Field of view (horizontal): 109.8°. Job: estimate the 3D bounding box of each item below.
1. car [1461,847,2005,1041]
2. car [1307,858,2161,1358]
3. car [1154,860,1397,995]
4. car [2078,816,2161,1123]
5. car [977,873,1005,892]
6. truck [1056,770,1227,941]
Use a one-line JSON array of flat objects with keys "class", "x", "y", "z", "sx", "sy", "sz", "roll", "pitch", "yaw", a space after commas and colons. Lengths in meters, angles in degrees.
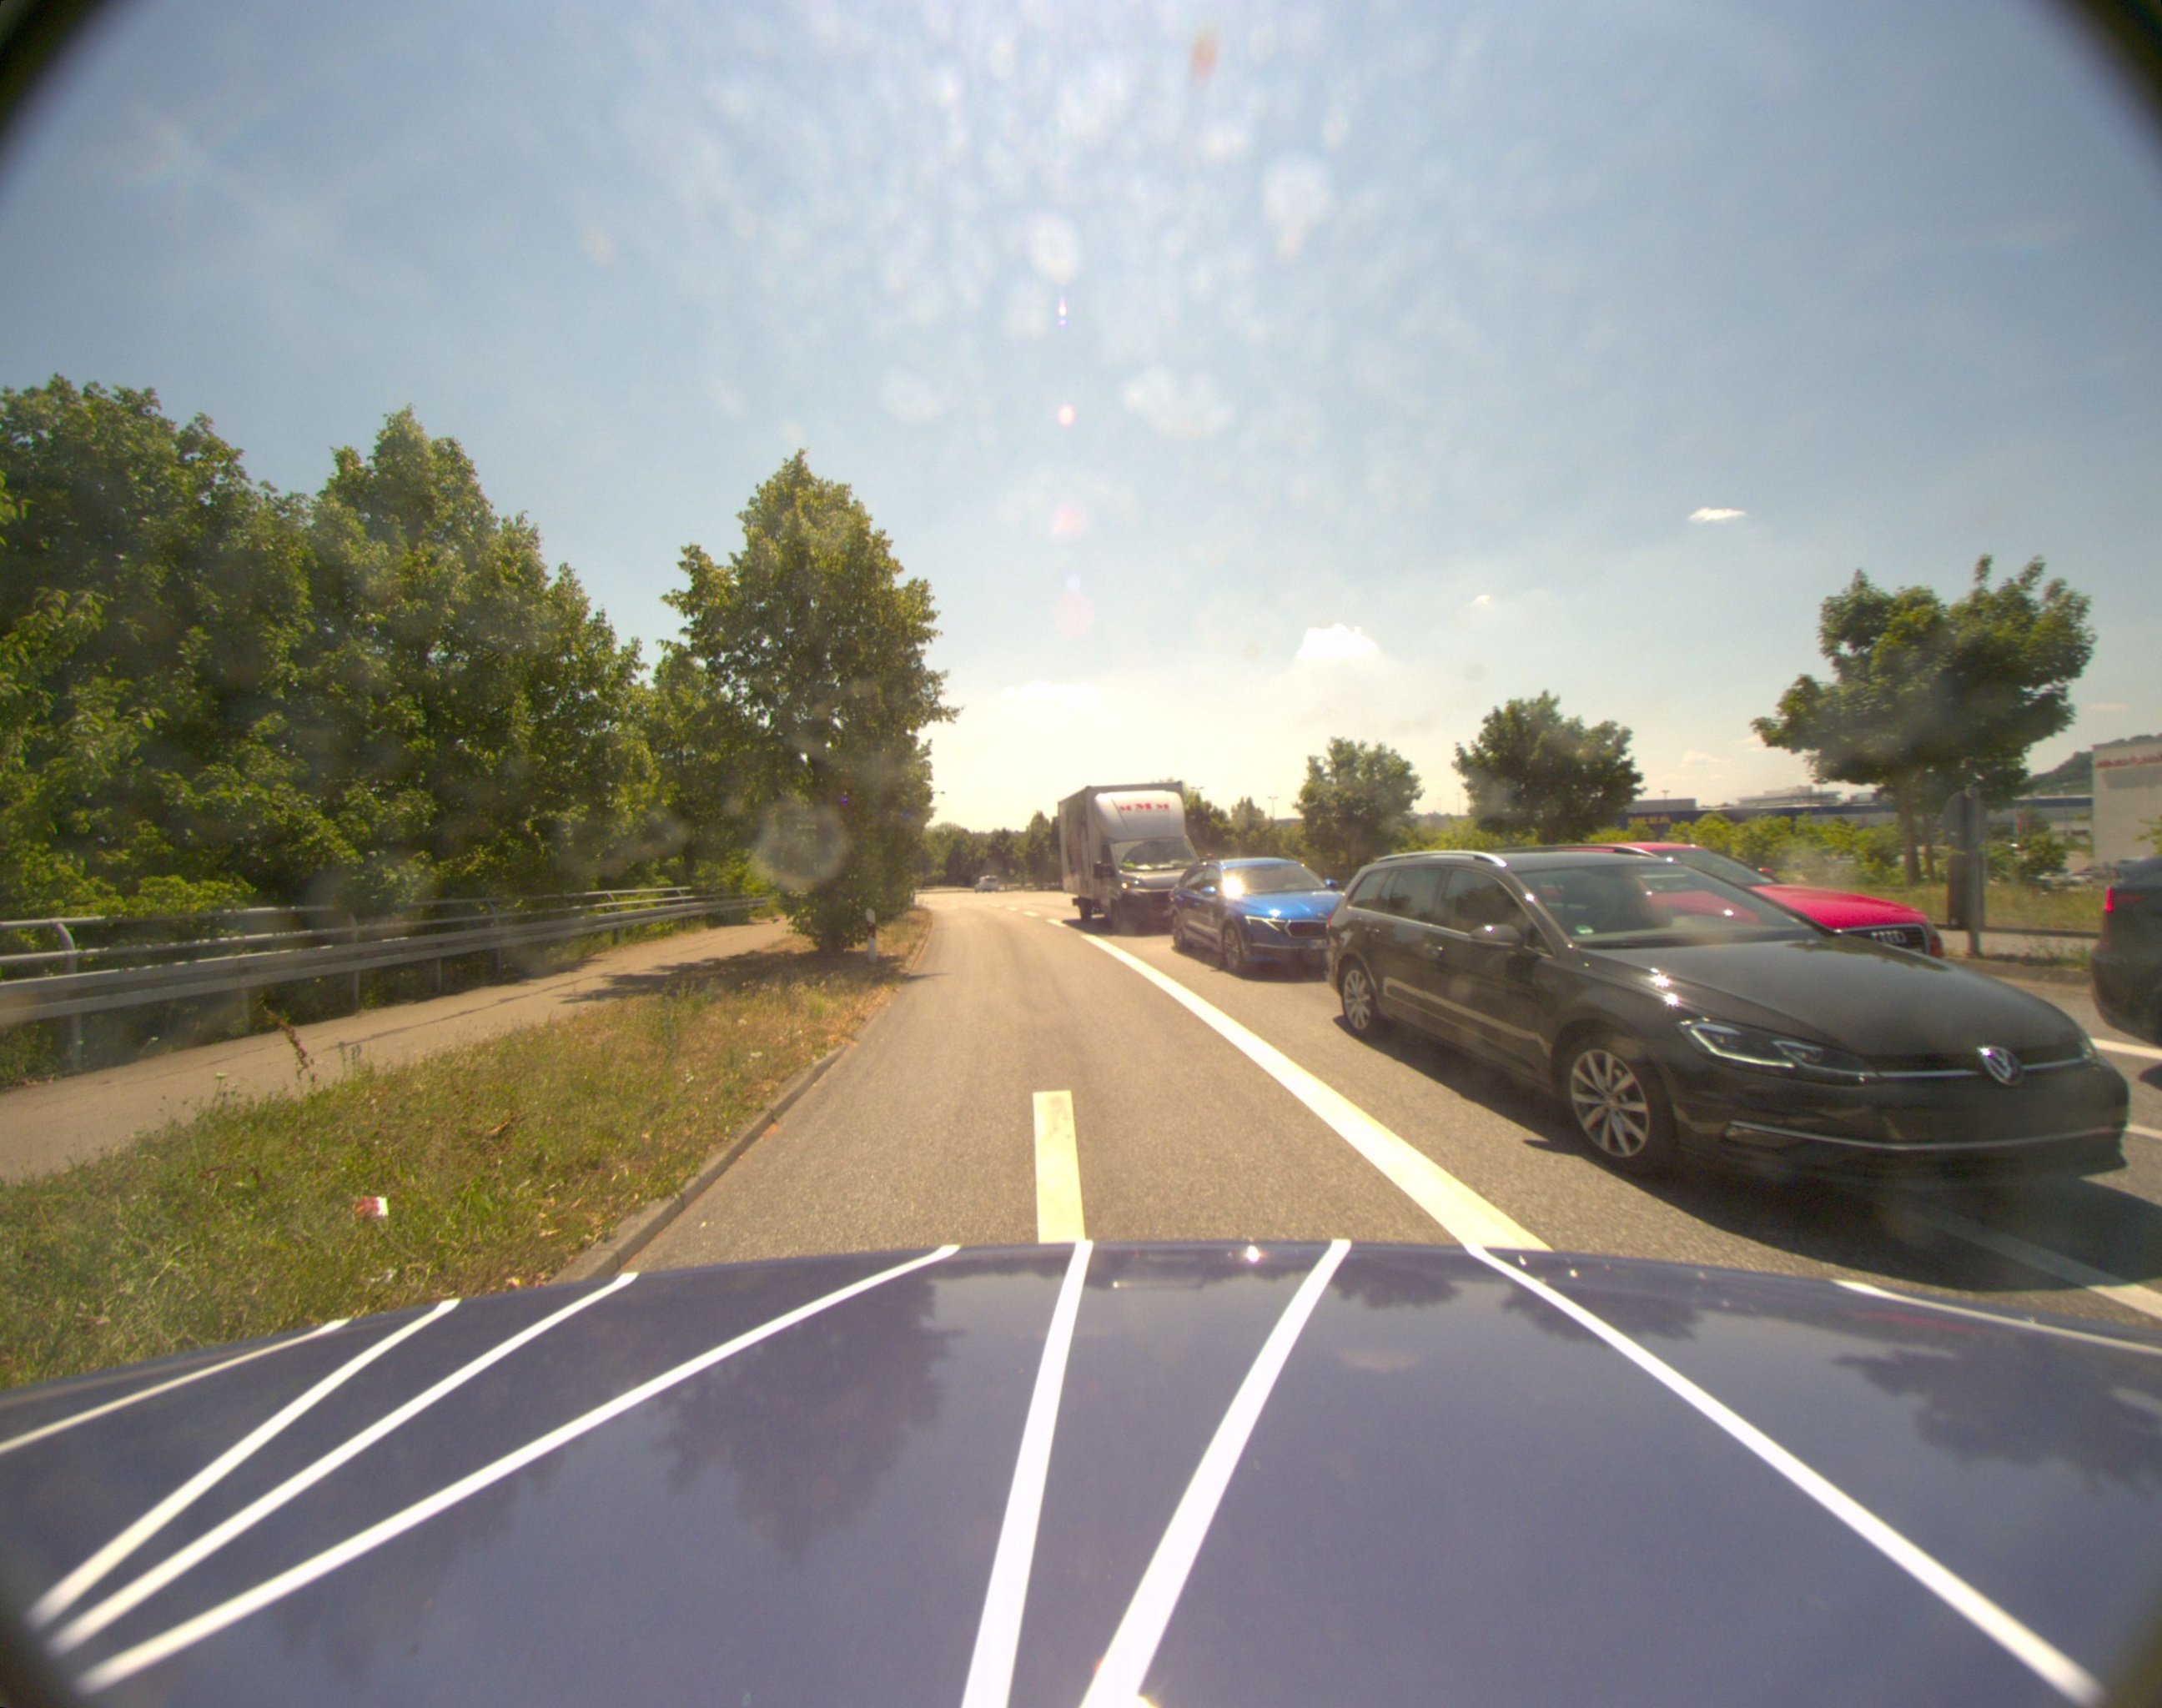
[{"class": "car", "x": 6.128, "y": 0.670, "z": 8.034, "sx": 1.665, "sy": 1.380, "sz": 4.447, "roll": -3, "pitch": 1, "yaw": -5}, {"class": "car", "x": 3.099, "y": 0.815, "z": 4.660, "sx": 1.783, "sy": 1.474, "sz": 4.427, "roll": -2, "pitch": 0, "yaw": -4}, {"class": "car", "x": 2.484, "y": 0.881, "z": 10.990, "sx": 1.713, "sy": 1.454, "sz": 4.486, "roll": -3, "pitch": -1, "yaw": -9}, {"class": "car", "x": 6.695, "y": 0.580, "z": 2.079, "sx": 1.880, "sy": 1.591, "sz": 4.503, "roll": -2, "pitch": 1, "yaw": -5}, {"class": "car", "x": -10.338, "y": 3.200, "z": 86.782, "sx": 2.002, "sy": 1.949, "sz": 3.992, "roll": -2, "pitch": 1, "yaw": -25}, {"class": "truck", "x": 1.119, "y": 0.101, "z": 18.792, "sx": 2.416, "sy": 3.327, "sz": 7.198, "roll": -2, "pitch": -1, "yaw": -9}]
